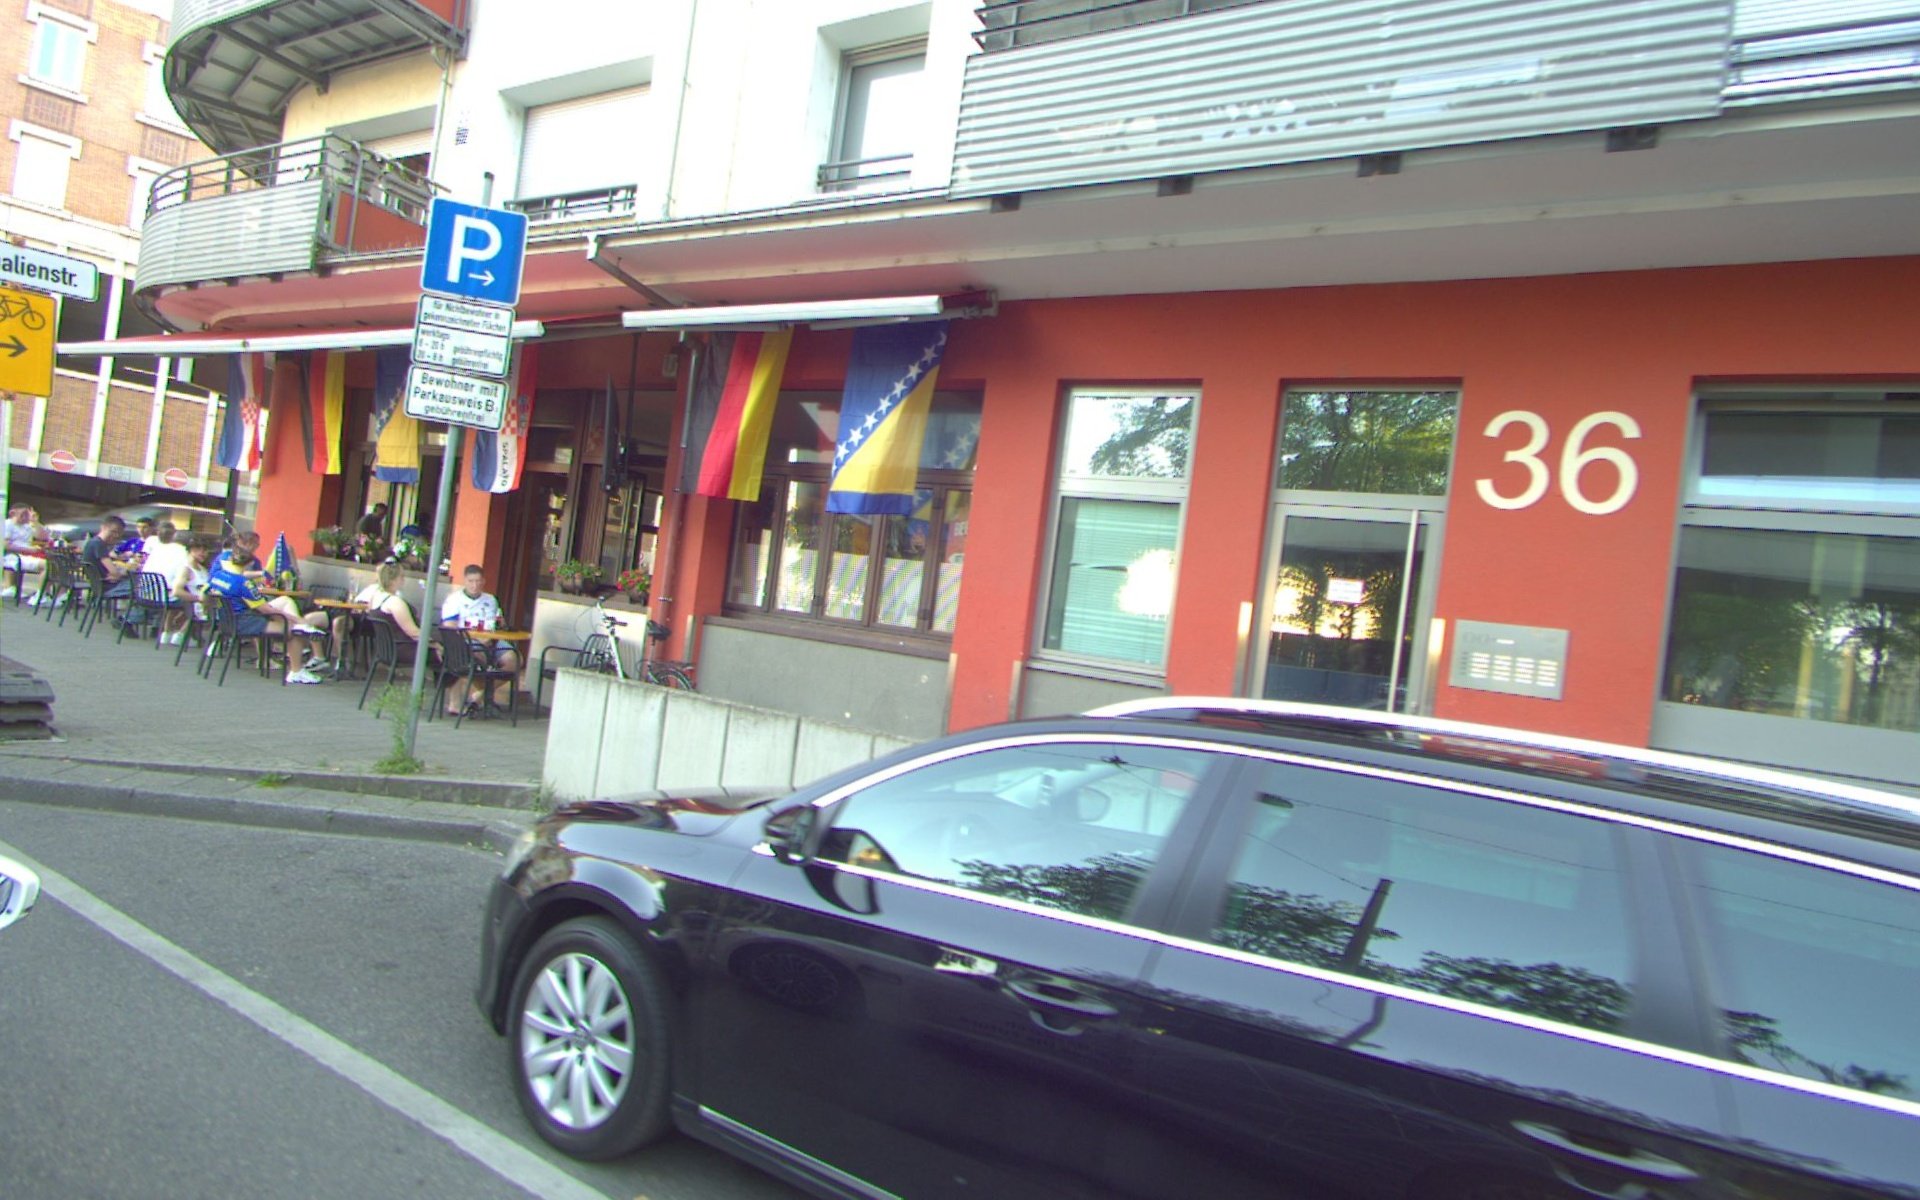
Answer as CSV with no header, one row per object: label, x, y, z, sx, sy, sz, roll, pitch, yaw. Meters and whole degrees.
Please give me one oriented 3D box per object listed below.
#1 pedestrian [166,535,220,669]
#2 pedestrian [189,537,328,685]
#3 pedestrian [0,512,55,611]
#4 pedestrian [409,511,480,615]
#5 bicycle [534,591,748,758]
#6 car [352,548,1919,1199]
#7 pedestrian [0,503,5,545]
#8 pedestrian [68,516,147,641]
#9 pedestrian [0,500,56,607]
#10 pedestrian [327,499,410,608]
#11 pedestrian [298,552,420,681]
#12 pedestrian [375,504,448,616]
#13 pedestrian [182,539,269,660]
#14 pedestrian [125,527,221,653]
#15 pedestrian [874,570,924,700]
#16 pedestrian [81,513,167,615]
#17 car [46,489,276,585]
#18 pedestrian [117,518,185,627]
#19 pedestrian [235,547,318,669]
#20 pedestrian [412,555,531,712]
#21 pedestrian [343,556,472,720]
pedestrian,-7.569,0.023,9.921,0.341,1.273,0.356,4,3,-39
pedestrian,-6.498,0.106,9.341,0.483,1.273,0.859,7,2,30
pedestrian,-11.951,-0.509,12.468,0.609,1.163,0.890,7,0,37
pedestrian,-8.694,-0.602,16.997,0.704,1.625,0.687,8,-2,-12
bicycle,-2.673,0.588,8.388,1.712,1.168,0.536,5,0,25
car,0.696,0.967,2.682,4.709,1.518,1.771,7,-4,30
pedestrian,-13.414,-0.734,13.519,0.724,1.269,0.617,7,0,36
pedestrian,-9.424,-0.235,11.125,0.411,1.320,0.491,7,2,30
pedestrian,-12.304,-0.613,13.065,0.649,1.299,0.617,7,0,38
pedestrian,-9.630,-0.746,16.400,0.675,1.625,0.716,8,-2,3
pedestrian,-6.290,0.179,10.550,0.702,1.239,0.779,7,2,30
pedestrian,-8.563,-0.611,15.729,0.598,1.625,0.534,8,-2,9
pedestrian,-7.888,-0.007,10.814,0.560,1.217,0.417,6,2,-12
pedestrian,-8.622,-0.113,11.046,0.502,1.293,0.626,6,2,-7
pedestrian,-0.819,0.477,13.560,0.420,1.680,0.431,8,-1,-1
pedestrian,-11.527,-0.491,13.897,0.611,1.294,0.697,8,0,-23
car,-19.488,-1.490,24.660,4.169,1.644,1.779,9,-2,-42
pedestrian,-10.217,-0.349,12.703,0.514,1.292,0.489,8,0,43
pedestrian,-7.208,0.083,10.626,0.529,1.217,0.417,6,2,-13
pedestrian,-4.610,0.319,9.505,0.684,1.365,0.607,7,1,29
pedestrian,-4.727,0.330,8.613,0.599,1.302,0.686,7,0,39
